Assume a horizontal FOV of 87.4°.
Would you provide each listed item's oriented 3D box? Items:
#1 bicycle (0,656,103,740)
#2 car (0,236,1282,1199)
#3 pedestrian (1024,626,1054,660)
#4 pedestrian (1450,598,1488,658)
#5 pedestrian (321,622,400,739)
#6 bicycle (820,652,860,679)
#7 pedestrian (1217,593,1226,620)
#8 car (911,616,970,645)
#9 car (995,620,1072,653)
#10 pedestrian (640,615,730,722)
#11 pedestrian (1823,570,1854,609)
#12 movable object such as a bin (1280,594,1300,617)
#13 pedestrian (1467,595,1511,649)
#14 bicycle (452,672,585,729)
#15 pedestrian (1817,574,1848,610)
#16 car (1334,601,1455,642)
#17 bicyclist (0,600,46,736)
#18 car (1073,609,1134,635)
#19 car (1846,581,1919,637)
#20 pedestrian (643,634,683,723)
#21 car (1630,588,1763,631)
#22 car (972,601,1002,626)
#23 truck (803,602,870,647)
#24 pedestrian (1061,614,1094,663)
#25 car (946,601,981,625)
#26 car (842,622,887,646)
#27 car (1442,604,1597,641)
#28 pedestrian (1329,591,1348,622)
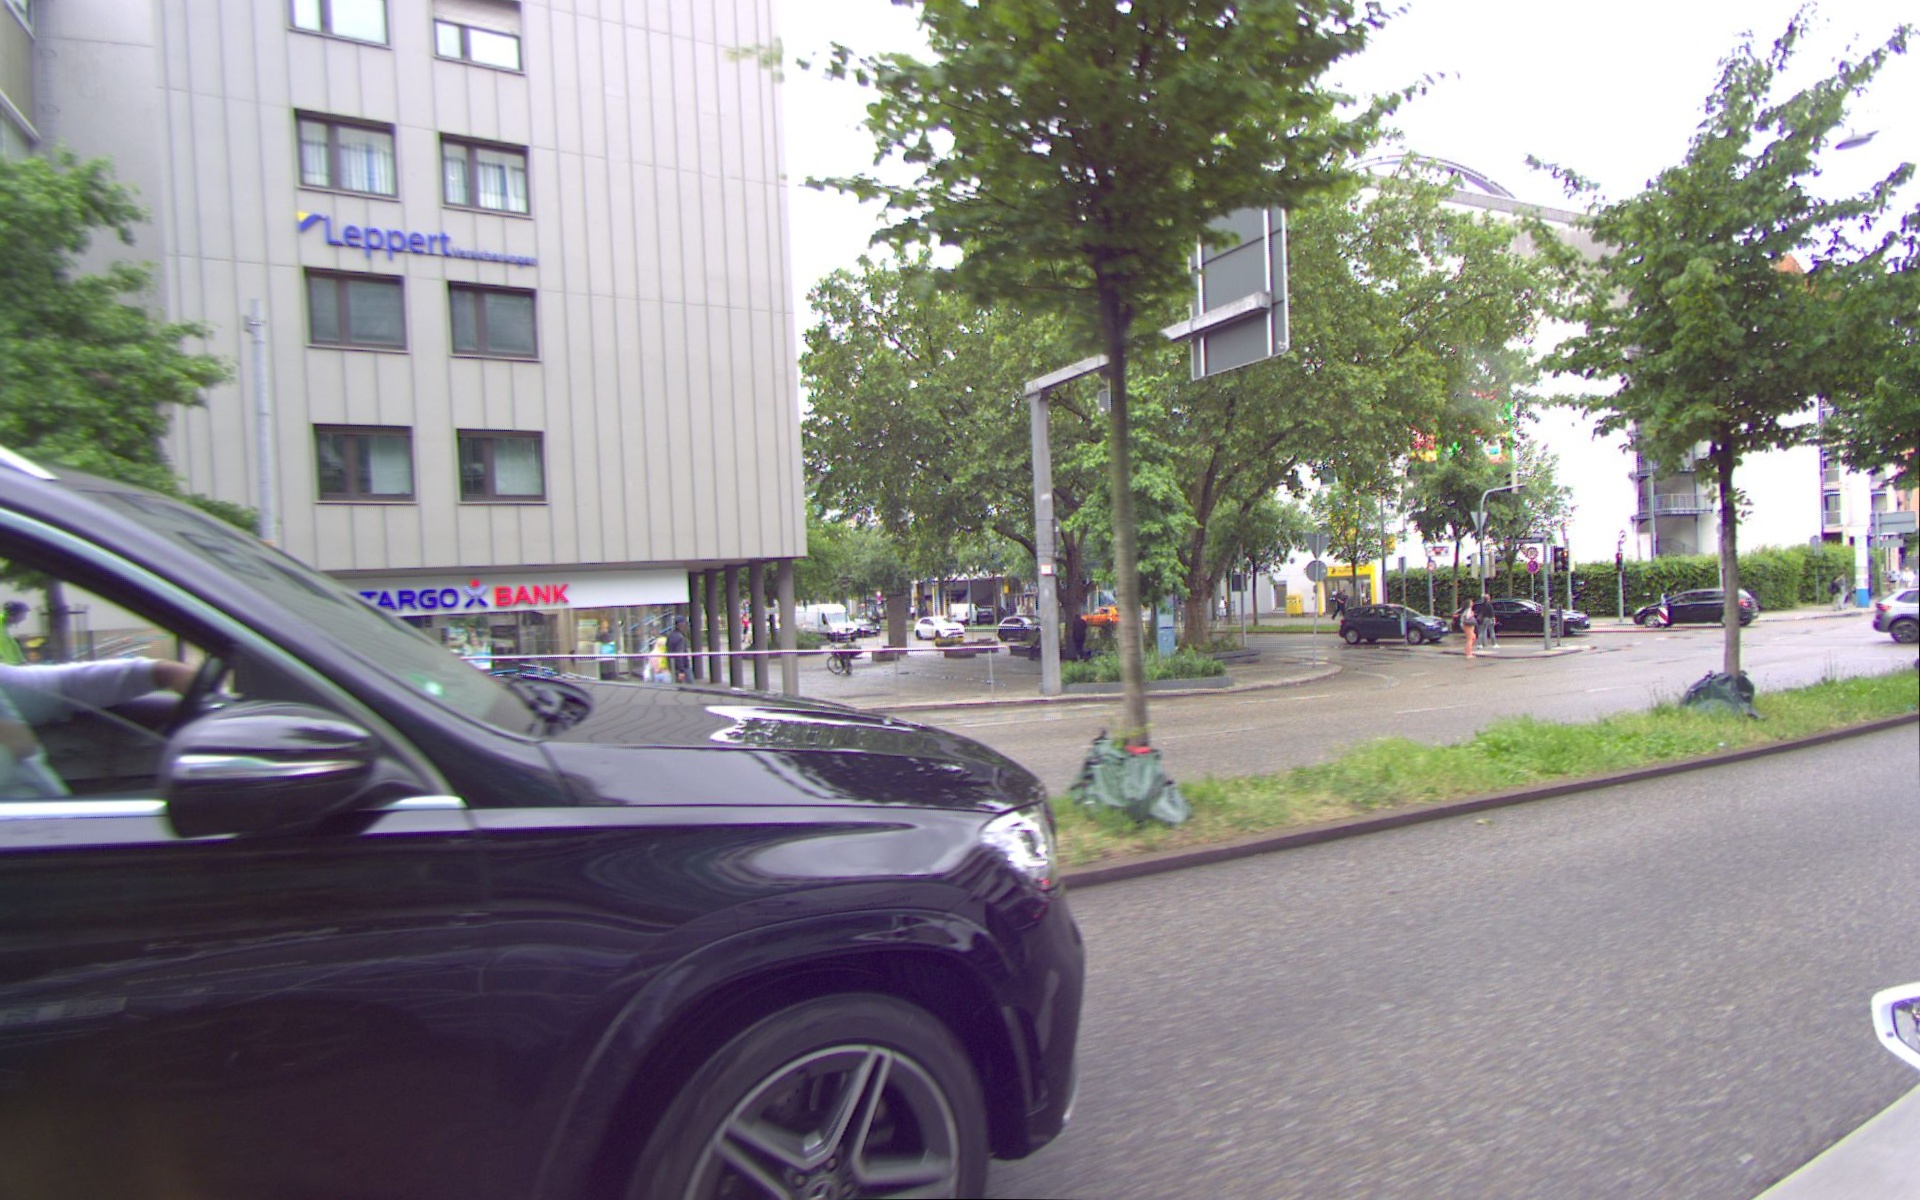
[{"bbox_3d":[-13.303,1.361,13.985,2.054,1.114,0.672,2,-2,-41],"label":"bicycle"},{"bbox_3d":[-1.862,0.480,1.935,4.735,1.841,2.078,0,1,-30],"label":"car"},{"bbox_3d":[3.130,1.702,39.758,0.936,1.289,0.758,-2,-2,34],"label":"pedestrian"},{"bbox_3d":[15.516,0.859,30.640,0.861,1.803,0.707,-1,-2,15],"label":"pedestrian"},{"bbox_3d":[-9.405,1.228,15.745,1.027,1.745,0.987,0,-2,-33],"label":"pedestrian"},{"bbox_3d":[-4.412,2.402,36.942,0.740,0.903,1.870,1,-1,-32],"label":"bicycle"},{"bbox_3d":[16.942,0.447,64.981,0.496,1.732,0.618,-1,-1,18],"label":"pedestrian"},{"bbox_3d":[-1.312,2.015,65.396,1.976,1.786,4.386,0,-2,-29],"label":"car"},{"bbox_3d":[4.131,2.072,57.146,1.943,1.782,4.565,0,-2,-34],"label":"car"},{"bbox_3d":[-4.659,1.136,17.011,1.297,1.735,0.812,0,-2,-30],"label":"pedestrian"},{"bbox_3d":[41.985,-0.506,48.005,0.888,1.826,0.628,-1,-2,19],"label":"pedestrian"},{"bbox_3d":[21.508,0.377,65.502,0.593,1.465,1.108,0,-2,-26],"label":"movable object such as a bin"},{"bbox_3d":[17.357,0.730,32.969,1.035,1.731,0.813,-1,-2,8],"label":"pedestrian"},{"bbox_3d":[-9.734,2.196,22.202,2.640,1.101,0.608,1,-1,-31],"label":"bicycle"},{"bbox_3d":[40.830,-0.365,47.026,0.908,1.629,0.564,-1,-2,19],"label":"pedestrian"},{"bbox_3d":[17.010,0.836,39.435,1.913,1.532,3.952,0,-1,-41],"label":"car"},{"bbox_3d":[-13.384,0.943,13.928,0.982,1.854,0.663,1,-3,-40],"label":"bicyclist"},{"bbox_3d":[9.304,1.439,65.326,1.756,1.638,3.973,0,-1,-33],"label":"car"},{"bbox_3d":[26.948,0.264,26.981,1.927,1.502,4.549,0,0,-42],"label":"car"},{"bbox_3d":[-5.952,1.548,20.116,0.628,1.735,0.597,0,-2,-30],"label":"pedestrian"},{"bbox_3d":[28.393,0.372,38.791,3.946,1.547,1.836,-1,-1,44],"label":"car"},{"bbox_3d":[2.286,1.101,83.007,1.959,2.040,4.003,0,-1,9],"label":"car"},{"bbox_3d":[-8.953,1.777,71.985,2.736,3.067,6.268,0,-2,-28],"label":"truck"},{"bbox_3d":[4.209,1.372,36.086,0.936,1.745,0.757,-1,-1,-17],"label":"pedestrian"},{"bbox_3d":[0.326,1.158,87.391,2.017,2.040,4.266,0,-1,16],"label":"car"},{"bbox_3d":[-7.202,2.583,75.516,1.974,1.717,4.390,0,-2,-26],"label":"car"},{"bbox_3d":[21.592,0.825,38.918,1.751,1.289,4.951,0,0,-42],"label":"car"},{"bbox_3d":[21.997,0.396,58.382,0.823,1.802,0.612,0,-1,-32],"label":"pedestrian"}]
